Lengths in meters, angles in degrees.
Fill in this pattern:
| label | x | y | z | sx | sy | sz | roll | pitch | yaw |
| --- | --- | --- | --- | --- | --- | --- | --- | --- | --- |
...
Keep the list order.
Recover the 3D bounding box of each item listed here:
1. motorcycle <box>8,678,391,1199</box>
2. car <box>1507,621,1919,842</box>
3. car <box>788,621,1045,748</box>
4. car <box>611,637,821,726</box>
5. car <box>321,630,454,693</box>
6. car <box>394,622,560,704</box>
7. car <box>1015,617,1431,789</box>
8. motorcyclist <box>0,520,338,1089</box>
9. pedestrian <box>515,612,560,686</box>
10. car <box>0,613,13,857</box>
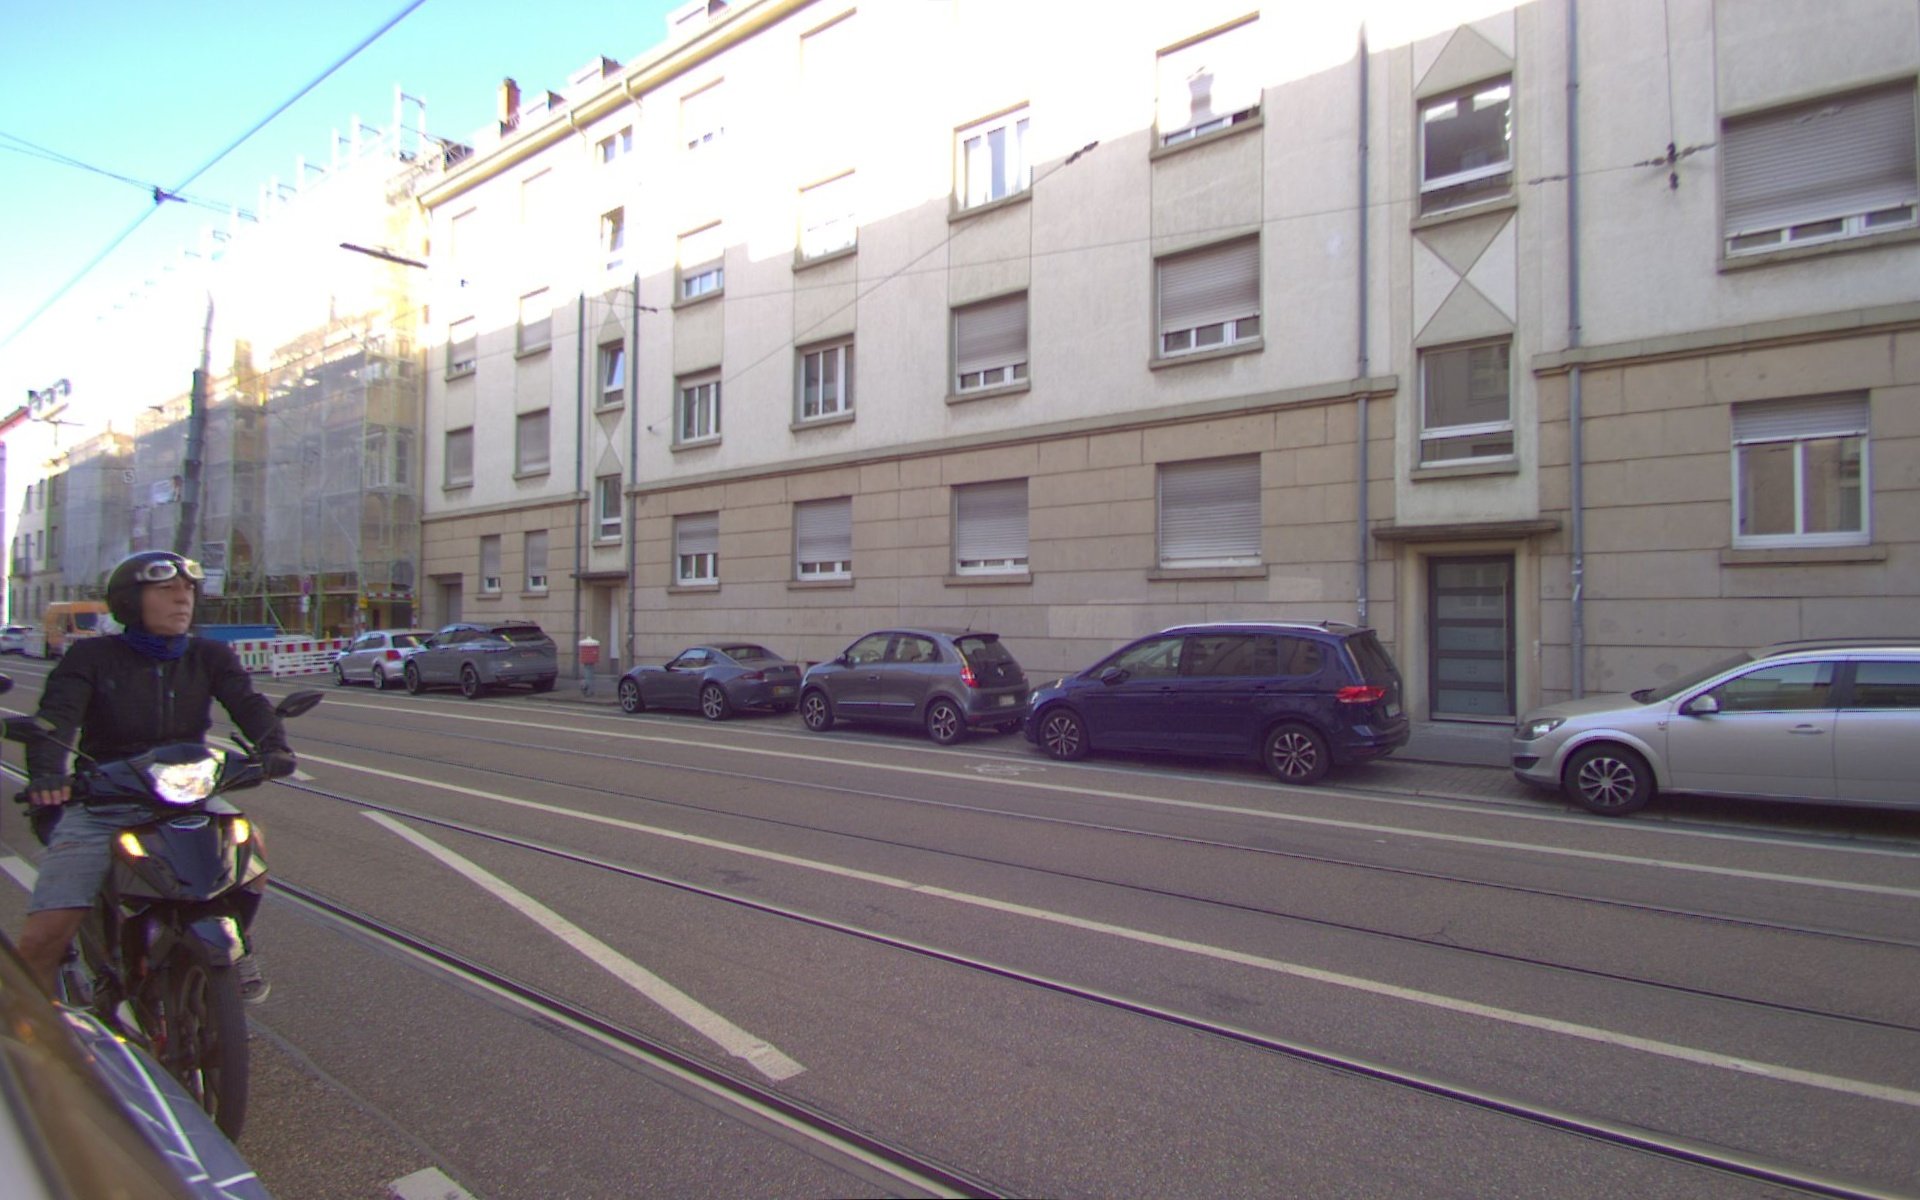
| label | x | y | z | sx | sy | sz | roll | pitch | yaw |
| --- | --- | --- | --- | --- | --- | --- | --- | --- | --- |
| motorcycle | -2.397 | 0.911 | 3.076 | 1.980 | 1.228 | 0.532 | -1 | 0 | 41 |
| car | 7.232 | 0.991 | 8.526 | 4.358 | 1.571 | 1.975 | -1 | 0 | 38 |
| car | -0.684 | 1.116 | 14.679 | 3.493 | 1.584 | 1.650 | -1 | 0 | 38 |
| car | -4.261 | 1.333 | 17.532 | 3.483 | 1.286 | 1.730 | -1 | 0 | 37 |
| car | -14.453 | 1.492 | 25.488 | 3.639 | 1.402 | 1.617 | -1 | 0 | 37 |
| car | -10.838 | 1.328 | 22.605 | 4.108 | 1.603 | 1.691 | -1 | 0 | 38 |
| car | 2.936 | 1.019 | 11.716 | 4.285 | 1.597 | 1.887 | -1 | 0 | 37 |
| motorcyclist | -2.542 | 0.543 | 3.181 | 0.598 | 1.516 | 0.851 | -1 | 0 | 41 |
| pedestrian | -10.309 | 1.177 | 24.705 | 0.776 | 1.777 | 0.742 | -1 | 0 | 41 |
| car | -8.004 | 0.854 | 6.983 | 3.997 | 1.515 | 1.670 | -1 | -3 | 40 |
